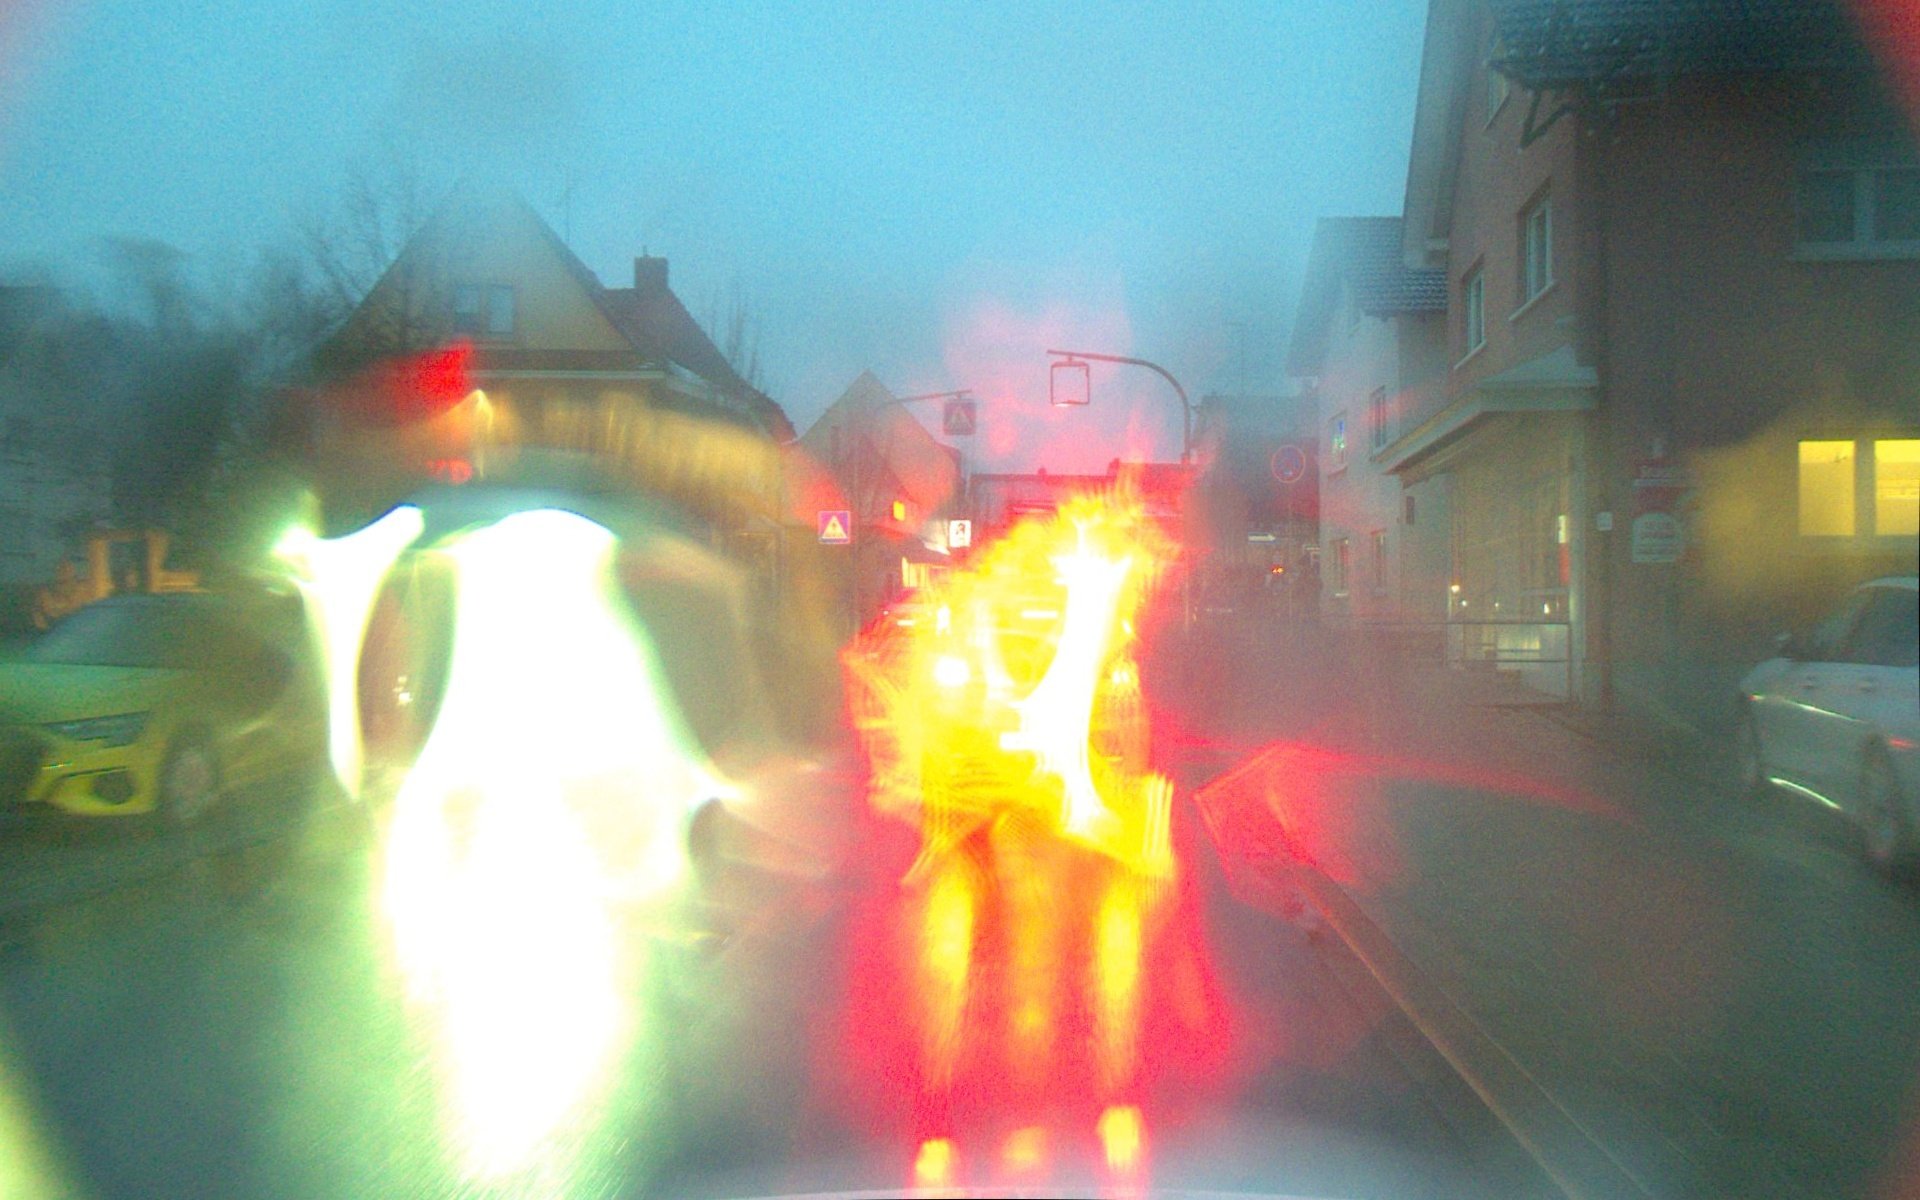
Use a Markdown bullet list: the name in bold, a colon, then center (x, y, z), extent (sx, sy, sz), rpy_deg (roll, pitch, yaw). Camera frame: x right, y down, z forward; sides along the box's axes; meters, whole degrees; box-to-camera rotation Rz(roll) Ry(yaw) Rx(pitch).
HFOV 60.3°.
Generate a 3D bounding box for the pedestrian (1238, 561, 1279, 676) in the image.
- **pedestrian**: center (5.086, 0.309, 28.170), extent (0.649, 1.921, 0.825), rpy_deg (1, 0, 11)

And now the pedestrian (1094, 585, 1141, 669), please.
- **pedestrian**: center (3.451, 0.584, 36.254), extent (0.953, 1.773, 0.962), rpy_deg (1, 1, 7)

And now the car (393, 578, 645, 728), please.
- **car**: center (-5.077, 0.554, 19.603), extent (1.635, 1.543, 4.002), rpy_deg (2, 0, 4)

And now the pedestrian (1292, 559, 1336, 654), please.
- **pedestrian**: center (7.199, 0.119, 33.677), extent (0.689, 1.909, 0.617), rpy_deg (1, 1, -4)

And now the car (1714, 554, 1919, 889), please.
- **car**: center (5.574, 0.491, 8.920), extent (1.843, 1.492, 4.547), rpy_deg (-2, 1, 13)

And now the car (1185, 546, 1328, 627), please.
- **car**: center (7.782, -0.352, 43.712), extent (3.618, 2.049, 1.690), rpy_deg (1, 0, 7)

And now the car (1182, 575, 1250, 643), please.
- **car**: center (8.122, 0.259, 52.724), extent (1.607, 2.049, 4.001), rpy_deg (-2, 1, 2)

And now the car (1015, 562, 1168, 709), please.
- **car**: center (1.725, 0.417, 21.329), extent (1.759, 1.691, 4.002), rpy_deg (1, 0, 5)

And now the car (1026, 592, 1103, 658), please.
- **car**: center (2.783, 0.608, 43.274), extent (1.788, 1.629, 4.584), rpy_deg (0, 0, 6)

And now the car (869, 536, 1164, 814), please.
- **car**: center (0.646, 0.457, 13.272), extent (1.951, 1.827, 4.652), rpy_deg (0, 1, 7)

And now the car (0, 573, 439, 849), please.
- **car**: center (-5.393, 0.615, 11.660), extent (1.712, 1.543, 4.344), rpy_deg (2, 0, 5)

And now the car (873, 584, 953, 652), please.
- **car**: center (-1.424, 0.531, 52.000), extent (1.951, 2.049, 4.364), rpy_deg (0, 0, 6)

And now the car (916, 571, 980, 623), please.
- **car**: center (-0.394, -0.102, 59.237), extent (1.951, 1.783, 4.363), rpy_deg (0, 0, 4)

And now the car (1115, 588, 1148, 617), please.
- **car**: center (8.783, 0.119, 84.782), extent (1.502, 1.267, 3.650), rpy_deg (-5, 1, 5)
